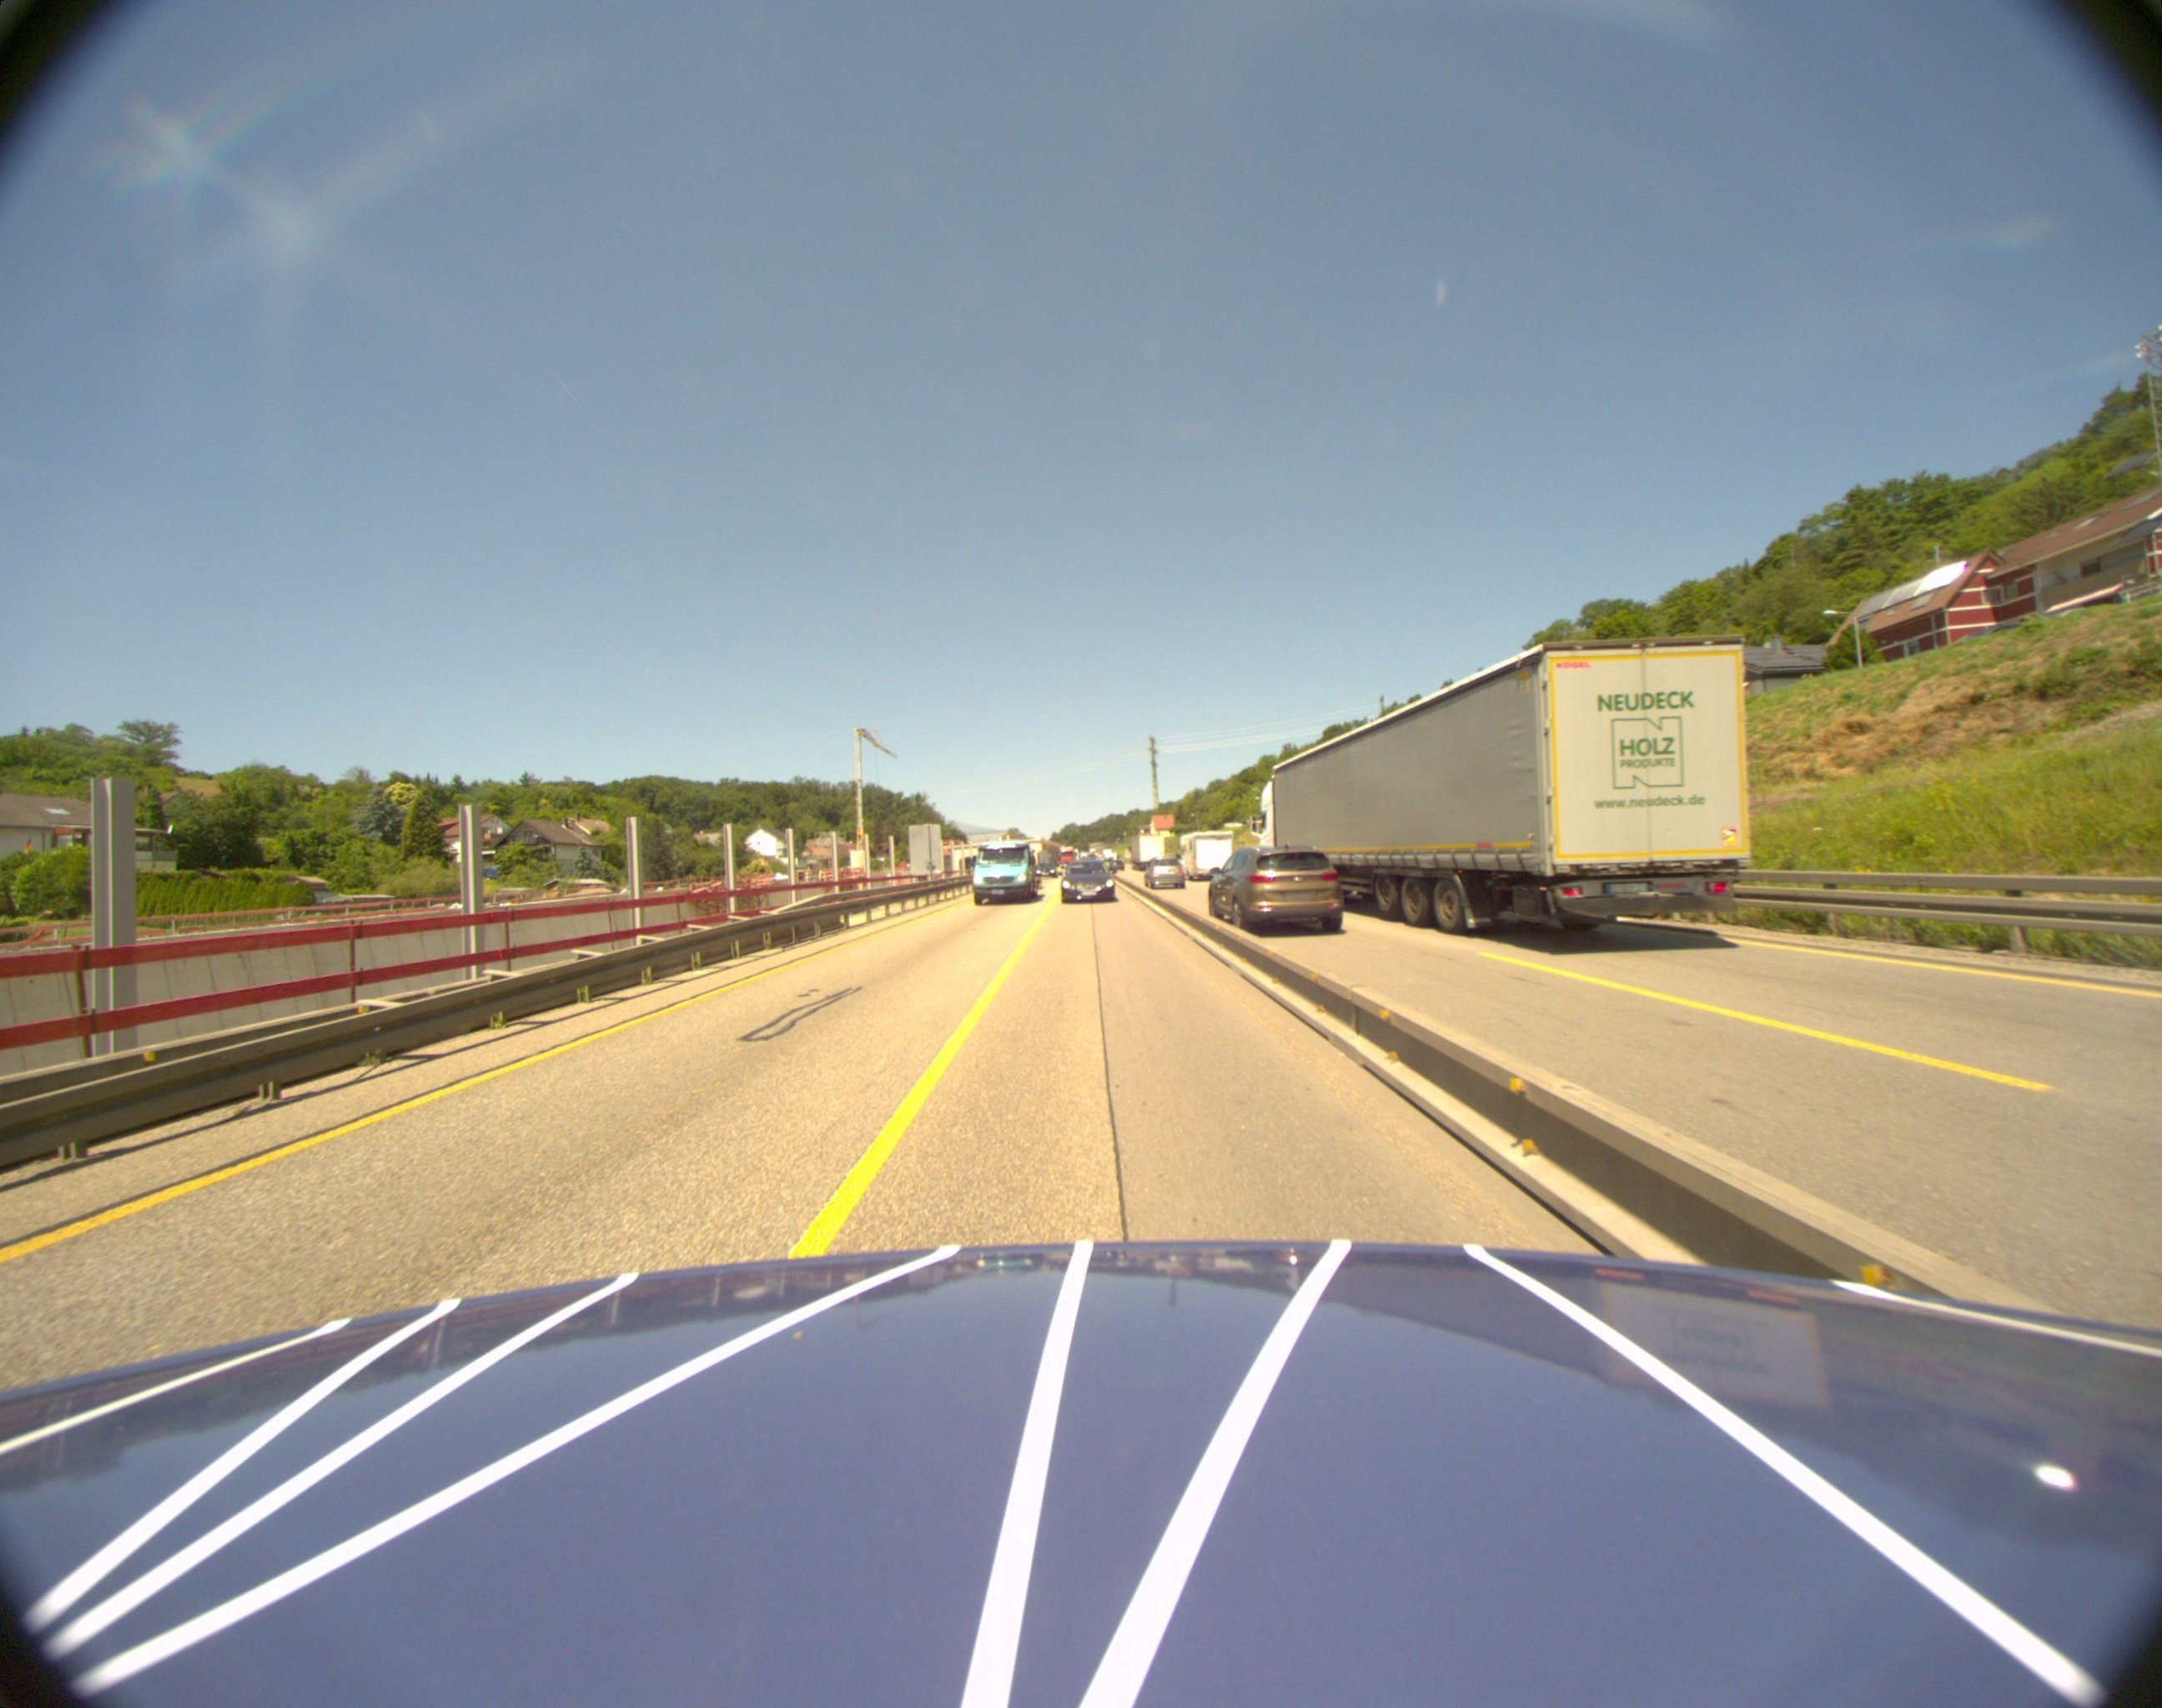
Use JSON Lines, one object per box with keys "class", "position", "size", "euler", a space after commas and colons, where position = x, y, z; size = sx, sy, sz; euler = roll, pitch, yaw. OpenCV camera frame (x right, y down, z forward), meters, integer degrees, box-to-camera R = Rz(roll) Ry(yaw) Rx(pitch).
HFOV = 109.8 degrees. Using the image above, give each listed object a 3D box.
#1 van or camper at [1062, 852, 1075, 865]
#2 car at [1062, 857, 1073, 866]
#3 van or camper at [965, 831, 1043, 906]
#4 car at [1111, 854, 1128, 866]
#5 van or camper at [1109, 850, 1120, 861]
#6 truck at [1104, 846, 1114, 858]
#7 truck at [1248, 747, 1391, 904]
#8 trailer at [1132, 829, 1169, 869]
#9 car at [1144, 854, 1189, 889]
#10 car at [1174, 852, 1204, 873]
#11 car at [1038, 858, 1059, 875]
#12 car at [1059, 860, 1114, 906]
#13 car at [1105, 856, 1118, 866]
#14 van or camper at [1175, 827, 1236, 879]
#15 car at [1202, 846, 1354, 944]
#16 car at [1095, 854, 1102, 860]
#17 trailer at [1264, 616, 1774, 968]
{"class": "van or camper", "position": [-2.500, 0.898, 151.919], "size": [2.321, 2.513, 4.527], "euler": [-4, 0, 0]}
{"class": "car", "position": [-2.371, 1.307, 135.715], "size": [1.679, 1.346, 3.486], "euler": [-4, 0, 0]}
{"class": "van or camper", "position": [-2.799, 0.496, 29.606], "size": [2.098, 2.458, 7.671], "euler": [-2, 0, 0]}
{"class": "car", "position": [4.718, 0.754, 93.655], "size": [1.772, 1.355, 4.411], "euler": [-2, 0, 0]}
{"class": "van or camper", "position": [8.597, 0.302, 195.800], "size": [2.382, 2.634, 6.051], "euler": [-2, 0, 0]}
{"class": "truck", "position": [8.509, -0.579, 231.947], "size": [2.386, 3.411, 9.304], "euler": [0, -1, -2]}
{"class": "truck", "position": [7.150, -0.805, 23.485], "size": [2.781, 4.262, 4.676], "euler": [-2, 0, 0]}
{"class": "trailer", "position": [7.895, -0.538, 87.863], "size": [2.864, 4.100, 13.436], "euler": [-2, 0, 0]}
{"class": "car", "position": [3.902, 0.761, 35.219], "size": [1.633, 1.470, 3.379], "euler": [-2, 0, 0]}
{"class": "car", "position": [8.351, 0.628, 59.088], "size": [1.721, 1.542, 4.264], "euler": [-2, 0, 0]}
{"class": "car", "position": [-2.820, 1.085, 66.684], "size": [1.611, 1.324, 3.496], "euler": [-3, 0, 0]}
{"class": "car", "position": [0.189, 0.955, 26.826], "size": [1.747, 1.420, 4.000], "euler": [-2, 0, 0]}
{"class": "car", "position": [4.547, 1.037, 115.123], "size": [1.758, 1.499, 4.000], "euler": [-4, 0, 0]}
{"class": "van or camper", "position": [7.356, -0.054, 45.804], "size": [2.340, 2.761, 7.516], "euler": [-2, 0, 0]}
{"class": "car", "position": [3.664, 0.697, 14.932], "size": [1.853, 1.577, 4.174], "euler": [-2, 0, 0]}
{"class": "car", "position": [4.571, 0.750, 201.924], "size": [1.660, 1.420, 3.176], "euler": [-6, 0, 0]}
{"class": "trailer", "position": [7.159, -0.784, 16.486], "size": [2.818, 4.261, 14.033], "euler": [-2, 0, 0]}
